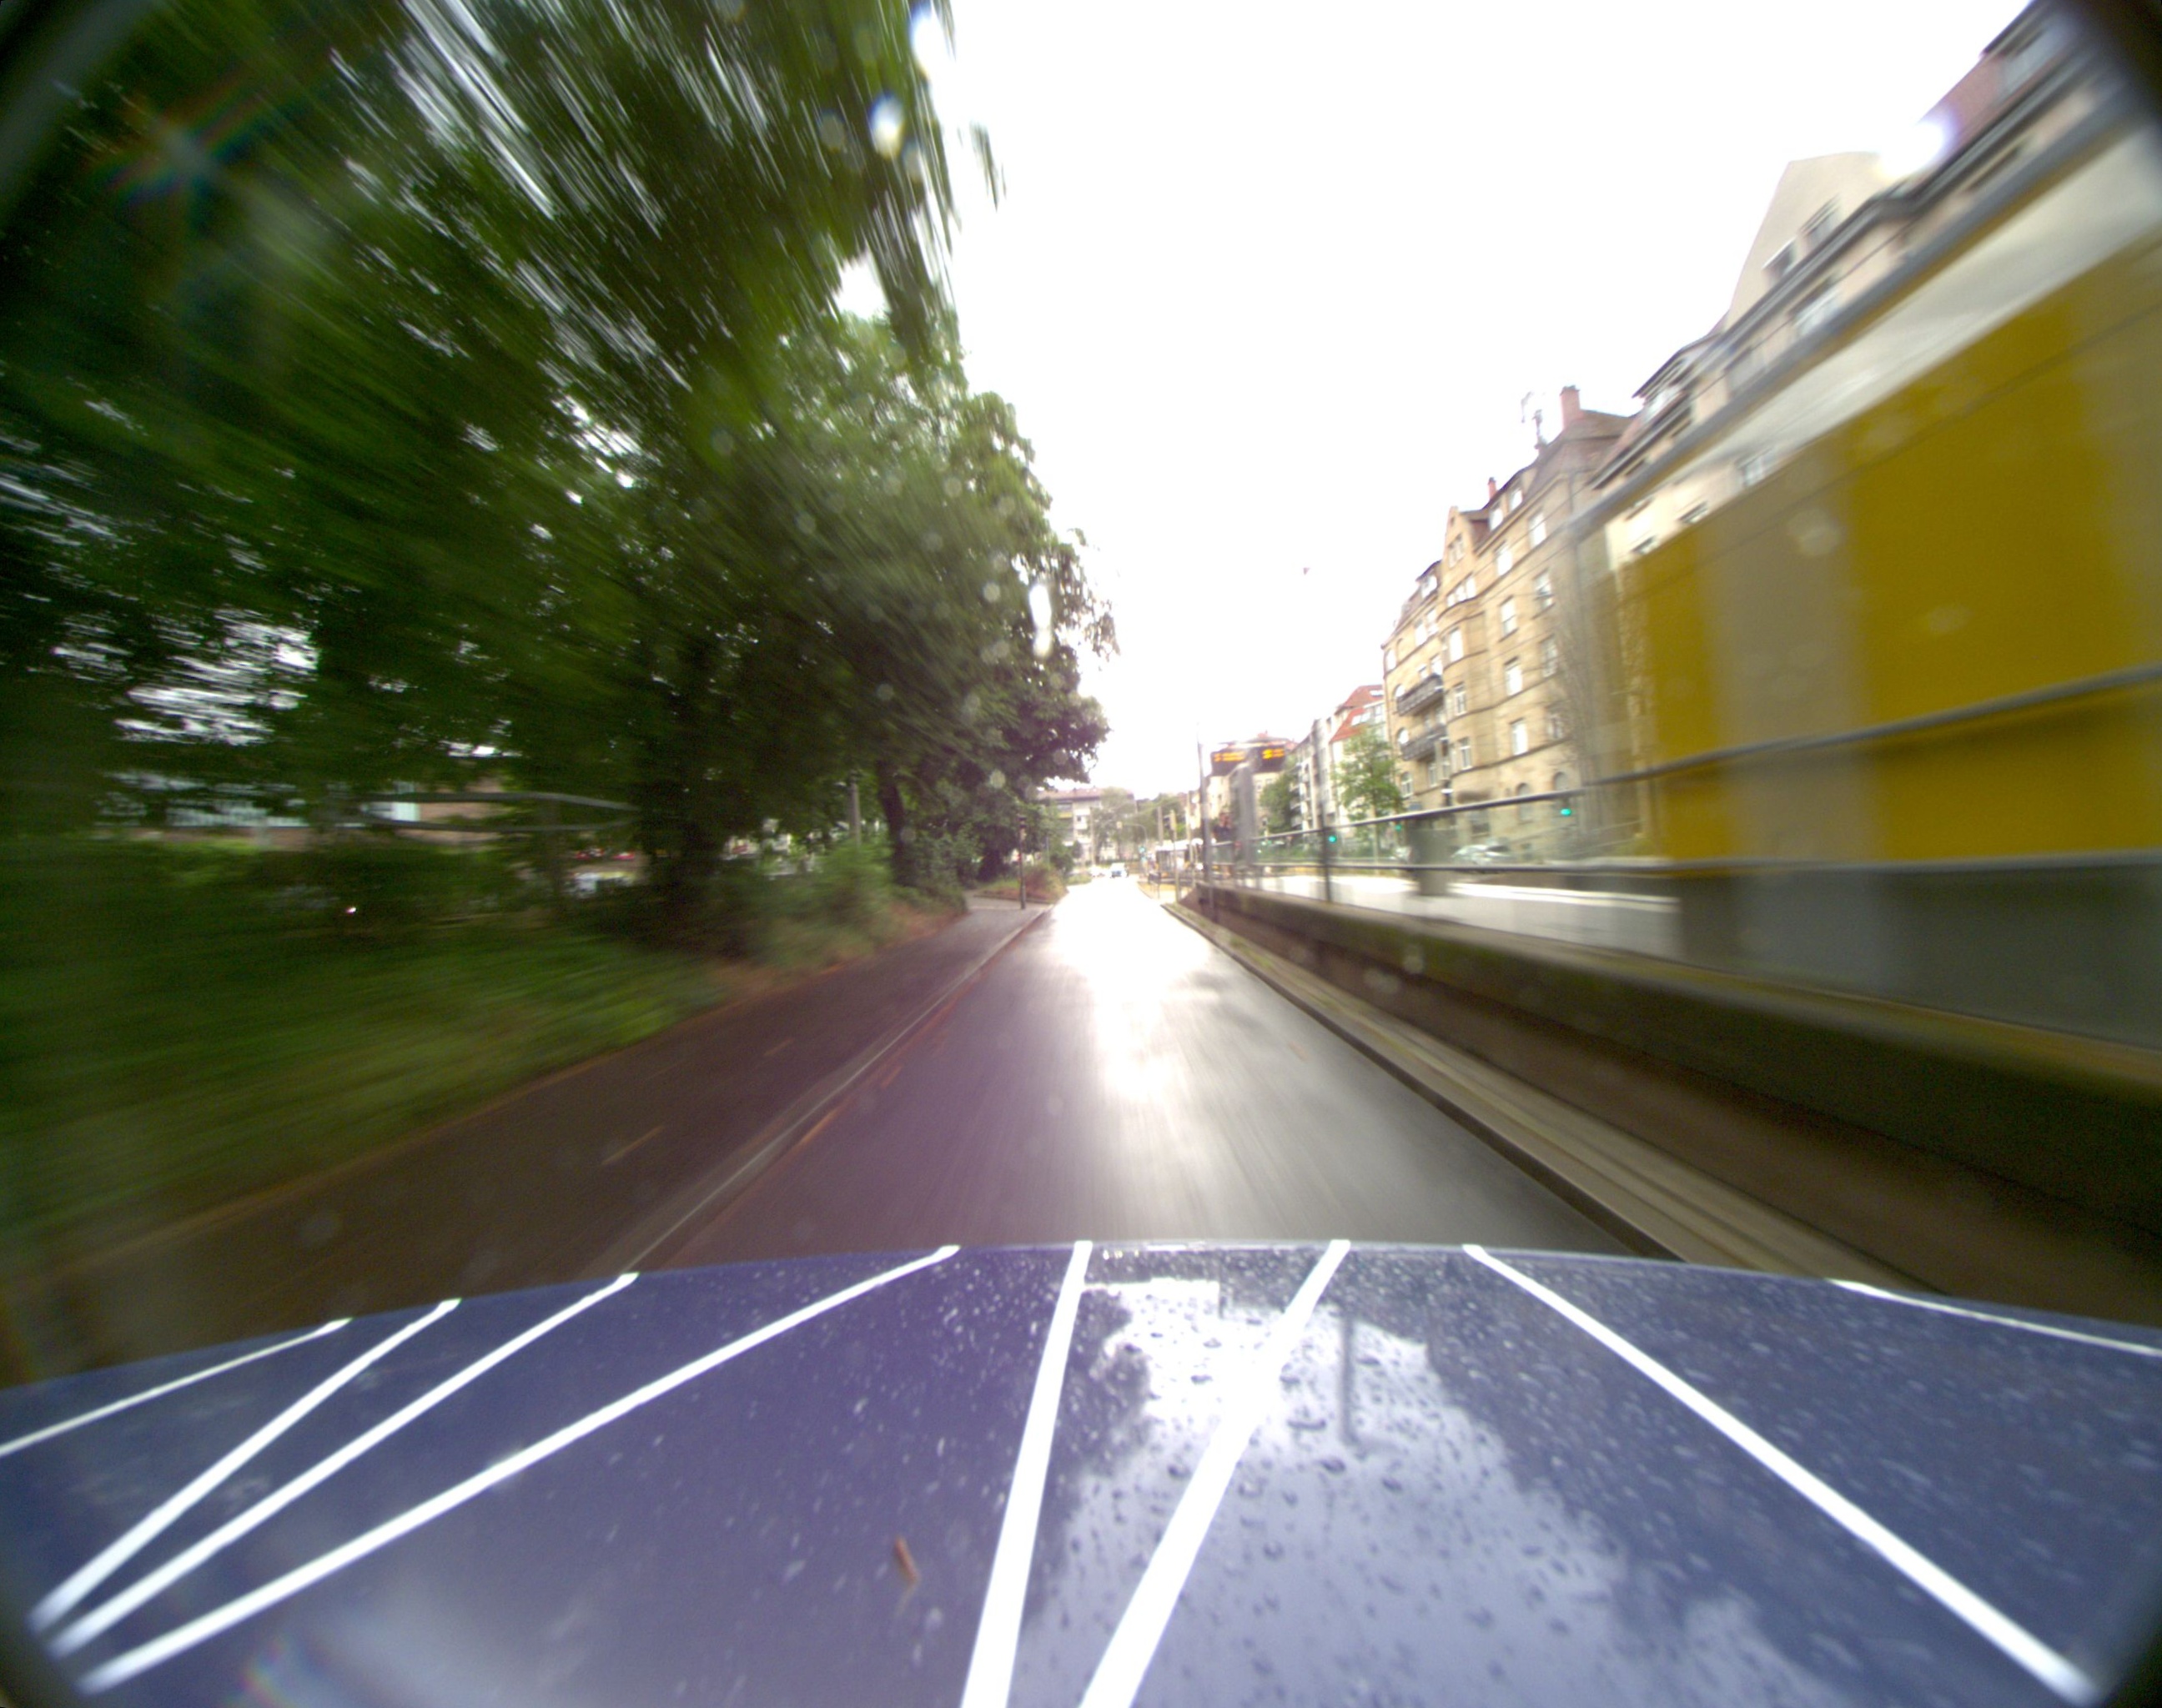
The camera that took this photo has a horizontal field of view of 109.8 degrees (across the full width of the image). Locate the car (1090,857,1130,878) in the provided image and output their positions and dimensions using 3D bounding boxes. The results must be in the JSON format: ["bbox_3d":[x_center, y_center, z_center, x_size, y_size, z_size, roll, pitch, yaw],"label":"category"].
[{"bbox_3d":[3.019,1.386,79.401,3.996,2.001,2.000,-3,0,2],"label":"car"}]

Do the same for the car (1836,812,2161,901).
[{"bbox_3d":[19.299,0.079,16.259,1.927,1.612,4.537,-1,-1,3],"label":"car"}]

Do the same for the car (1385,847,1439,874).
[{"bbox_3d":[20.677,0.402,47.619,1.634,1.538,4.176,-2,-1,2],"label":"car"}]

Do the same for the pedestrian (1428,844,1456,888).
[{"bbox_3d":[14.302,0.466,30.094,0.721,1.689,0.729,-2,0,3],"label":"pedestrian"}]

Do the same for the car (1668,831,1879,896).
[{"bbox_3d":[19.631,0.213,21.883,1.998,1.524,4.533,-5,1,3],"label":"car"}]

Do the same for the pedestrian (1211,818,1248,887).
[{"bbox_3d":[3.503,-0.037,17.959,0.652,1.553,0.684,-4,0,2],"label":"pedestrian"}]

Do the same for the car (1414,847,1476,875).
[{"bbox_3d":[20.536,0.379,43.051,1.634,1.433,4.176,-2,-1,2],"label":"car"}]

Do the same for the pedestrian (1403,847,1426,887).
[{"bbox_3d":[13.830,0.539,31.522,0.626,1.584,0.621,-2,0,3],"label":"pedestrian"}]

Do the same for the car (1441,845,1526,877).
[{"bbox_3d":[20.063,0.364,38.114,1.721,1.433,4.869,-2,-1,1],"label":"car"}]

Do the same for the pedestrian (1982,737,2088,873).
[{"bbox_3d":[13.286,-0.660,10.602,0.517,1.827,0.762,-1,0,2],"label":"pedestrian"}]

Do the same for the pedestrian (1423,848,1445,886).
[{"bbox_3d":[14.427,0.538,31.058,0.521,1.522,0.620,-2,0,-3],"label":"pedestrian"}]

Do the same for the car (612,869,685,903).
[{"bbox_3d":[-20.844,1.520,36.550,3.989,1.456,2.004,-2,0,44],"label":"car"}]

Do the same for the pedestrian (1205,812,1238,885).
[{"bbox_3d":[3.558,-0.130,19.276,0.652,1.773,0.848,-3,0,2],"label":"pedestrian"}]

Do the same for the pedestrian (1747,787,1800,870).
[{"bbox_3d":[13.565,-0.488,14.896,0.517,1.595,0.563,-1,0,2],"label":"pedestrian"}]
